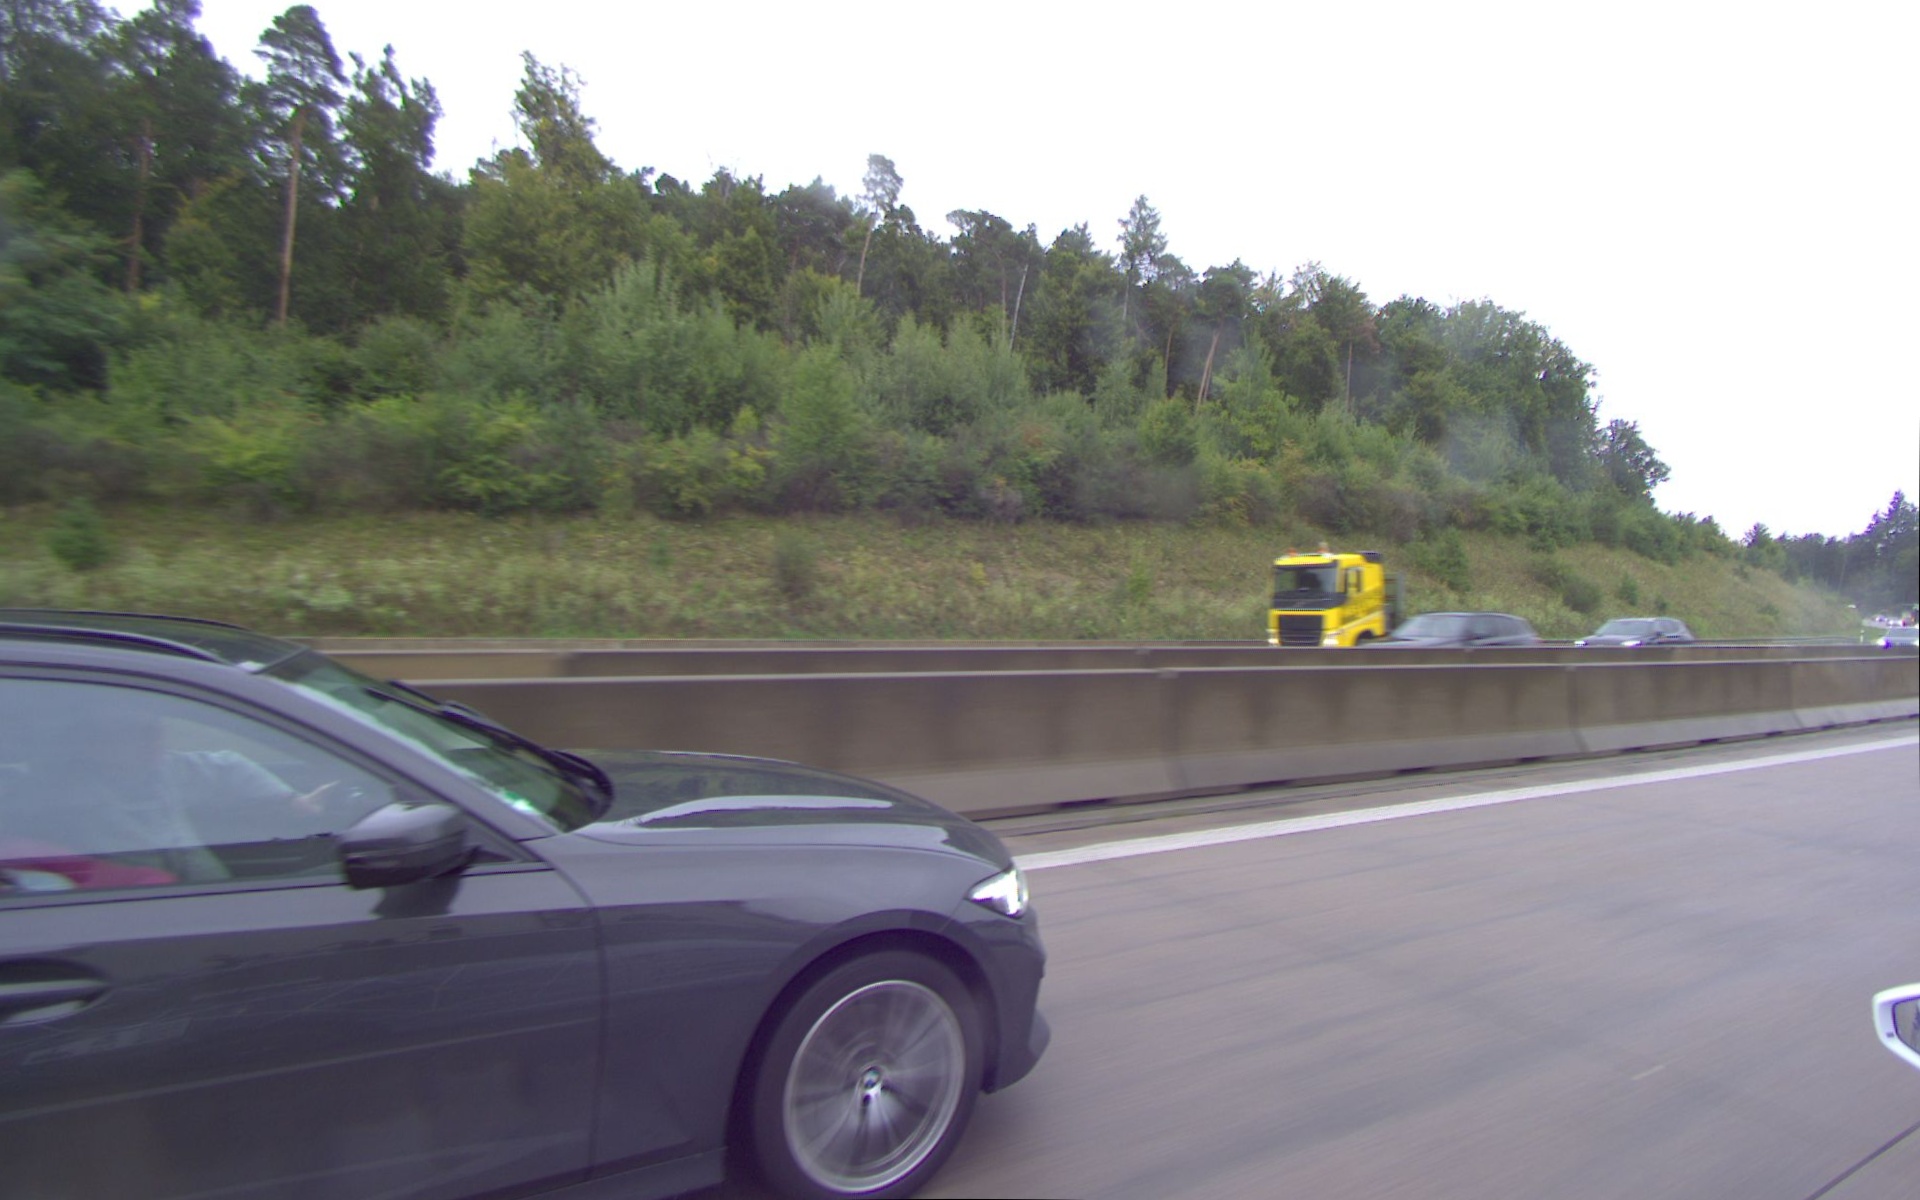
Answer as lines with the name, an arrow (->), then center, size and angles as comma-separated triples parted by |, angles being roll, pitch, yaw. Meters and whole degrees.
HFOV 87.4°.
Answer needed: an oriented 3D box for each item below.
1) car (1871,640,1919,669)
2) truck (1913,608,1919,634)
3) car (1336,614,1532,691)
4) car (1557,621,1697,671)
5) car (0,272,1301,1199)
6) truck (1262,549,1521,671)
car -> 48.025, 2.754, 51.028 | 4.042, 1.364, 1.644 | 1, 0, -33
truck -> 147.355, 3.231, 152.775 | 8.057, 4.013, 2.900 | 1, -1, -42
car -> 9.591, 1.020, 20.251 | 4.040, 1.364, 1.644 | 1, 0, -32
car -> 20.384, 1.381, 30.648 | 4.713, 1.364, 1.795 | 1, 0, -32
car -> -2.065, 0.477, 2.314 | 6.091, 1.971, 1.898 | 1, -1, -31
truck -> 13.491, 0.374, 31.008 | 9.280, 3.340, 2.607 | 1, -1, -33
